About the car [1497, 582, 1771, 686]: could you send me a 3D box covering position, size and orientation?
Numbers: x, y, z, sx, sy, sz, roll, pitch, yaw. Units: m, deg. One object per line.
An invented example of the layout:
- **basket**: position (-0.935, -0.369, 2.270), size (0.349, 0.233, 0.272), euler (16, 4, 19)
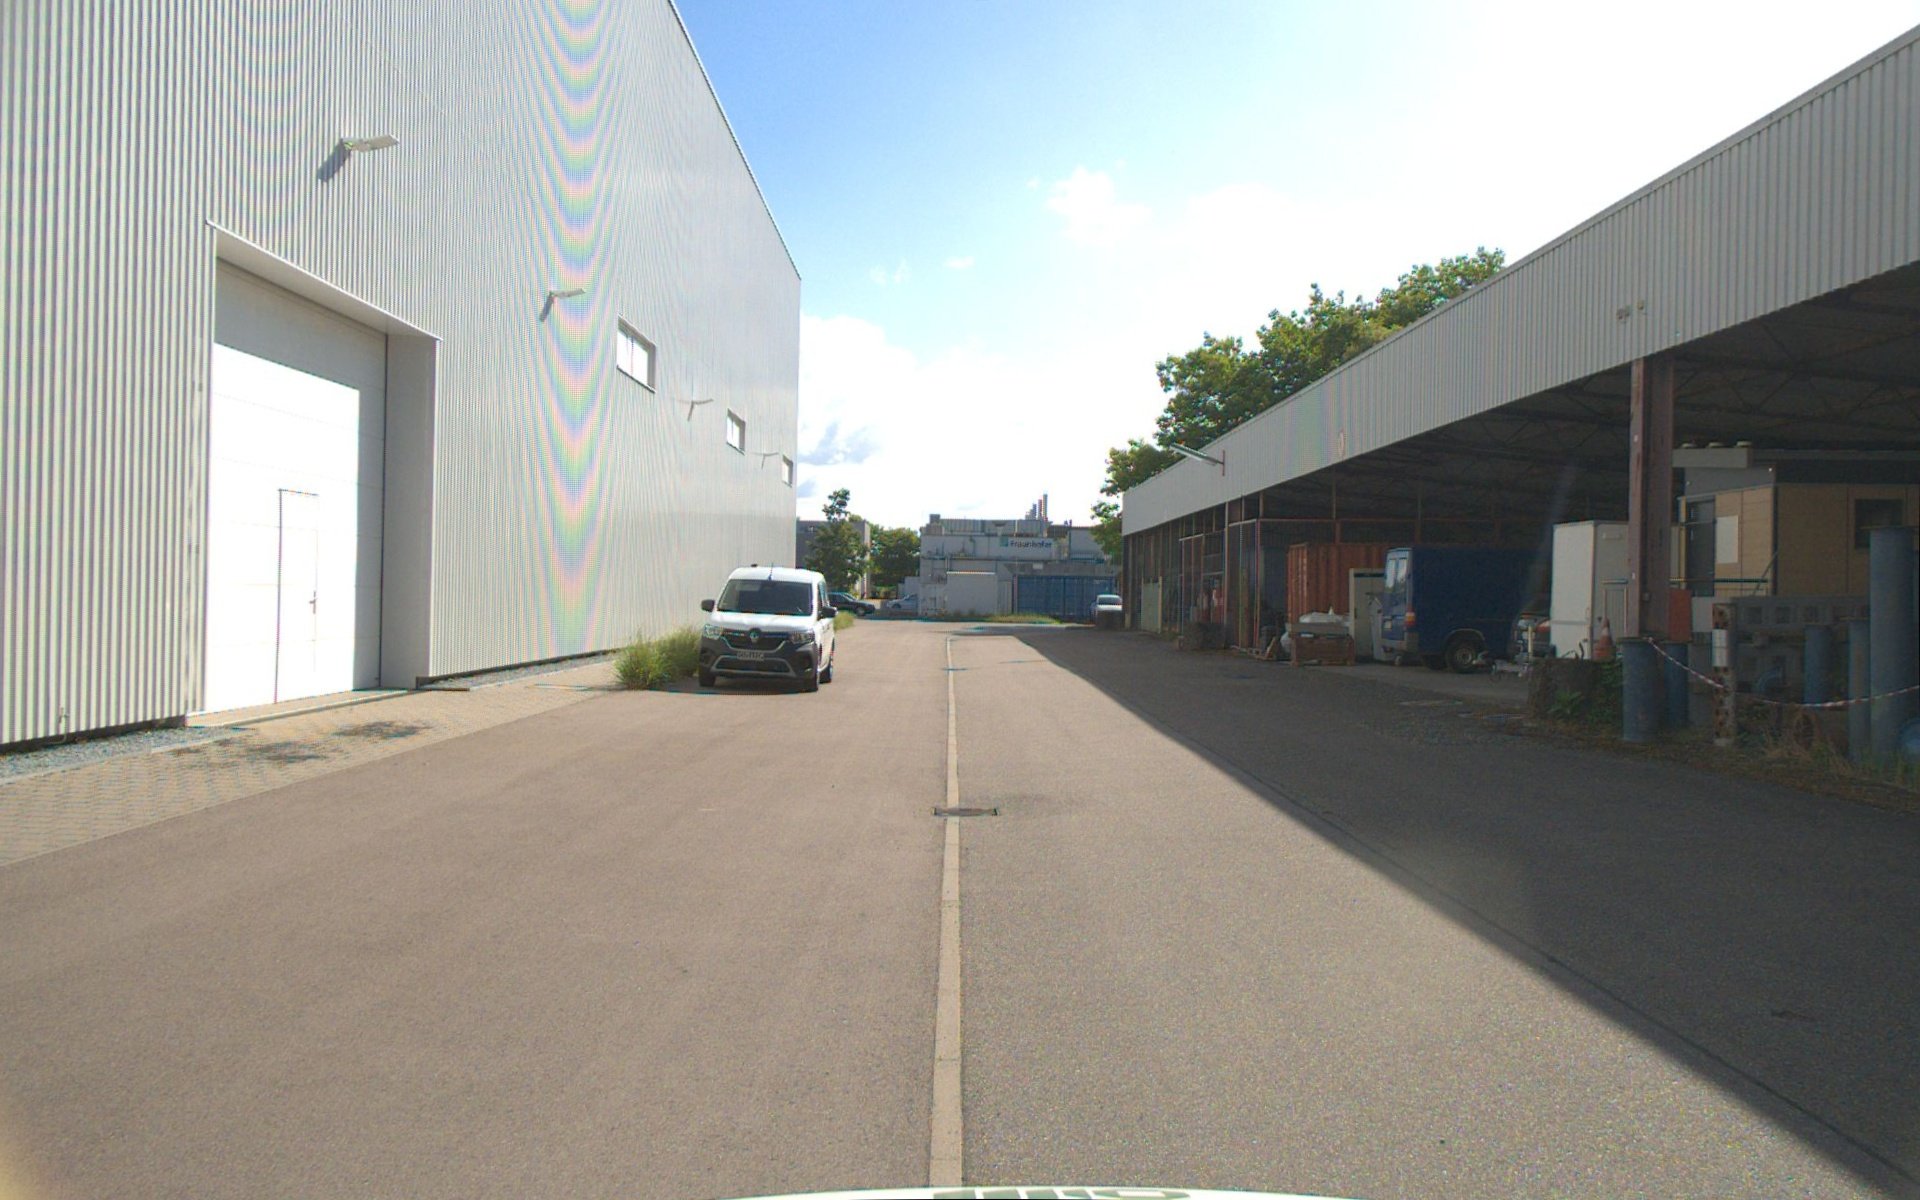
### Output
- **car**: position (11.367, 0.587, 28.066), size (3.955, 1.551, 1.684), euler (2, -2, 0)

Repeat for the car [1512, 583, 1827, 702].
- **car**: position (10.485, 0.638, 24.633), size (3.955, 1.551, 1.684), euler (2, -2, 0)

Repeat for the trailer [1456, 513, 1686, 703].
- **trailer**: position (8.196, 0.112, 22.344), size (2.471, 2.441, 1.727), euler (1, -1, 0)

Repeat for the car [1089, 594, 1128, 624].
- **car**: position (8.555, 0.493, 95.605), size (1.921, 1.592, 4.060), euler (2, 1, 1)

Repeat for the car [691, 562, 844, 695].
- **car**: position (-2.884, 0.383, 25.686), size (1.781, 1.818, 4.405), euler (2, 0, 0)

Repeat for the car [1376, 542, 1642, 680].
- **car**: position (10.263, 0.223, 31.152), size (4.342, 2.350, 1.915), euler (2, -2, 0)

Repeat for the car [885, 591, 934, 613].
- **car**: position (-4.151, 0.193, 135.767), size (3.906, 1.626, 1.847), euler (2, -2, -2)

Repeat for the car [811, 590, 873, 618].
- **car**: position (-7.699, 0.292, 107.849), size (3.906, 1.626, 1.741), euler (2, -2, -2)
